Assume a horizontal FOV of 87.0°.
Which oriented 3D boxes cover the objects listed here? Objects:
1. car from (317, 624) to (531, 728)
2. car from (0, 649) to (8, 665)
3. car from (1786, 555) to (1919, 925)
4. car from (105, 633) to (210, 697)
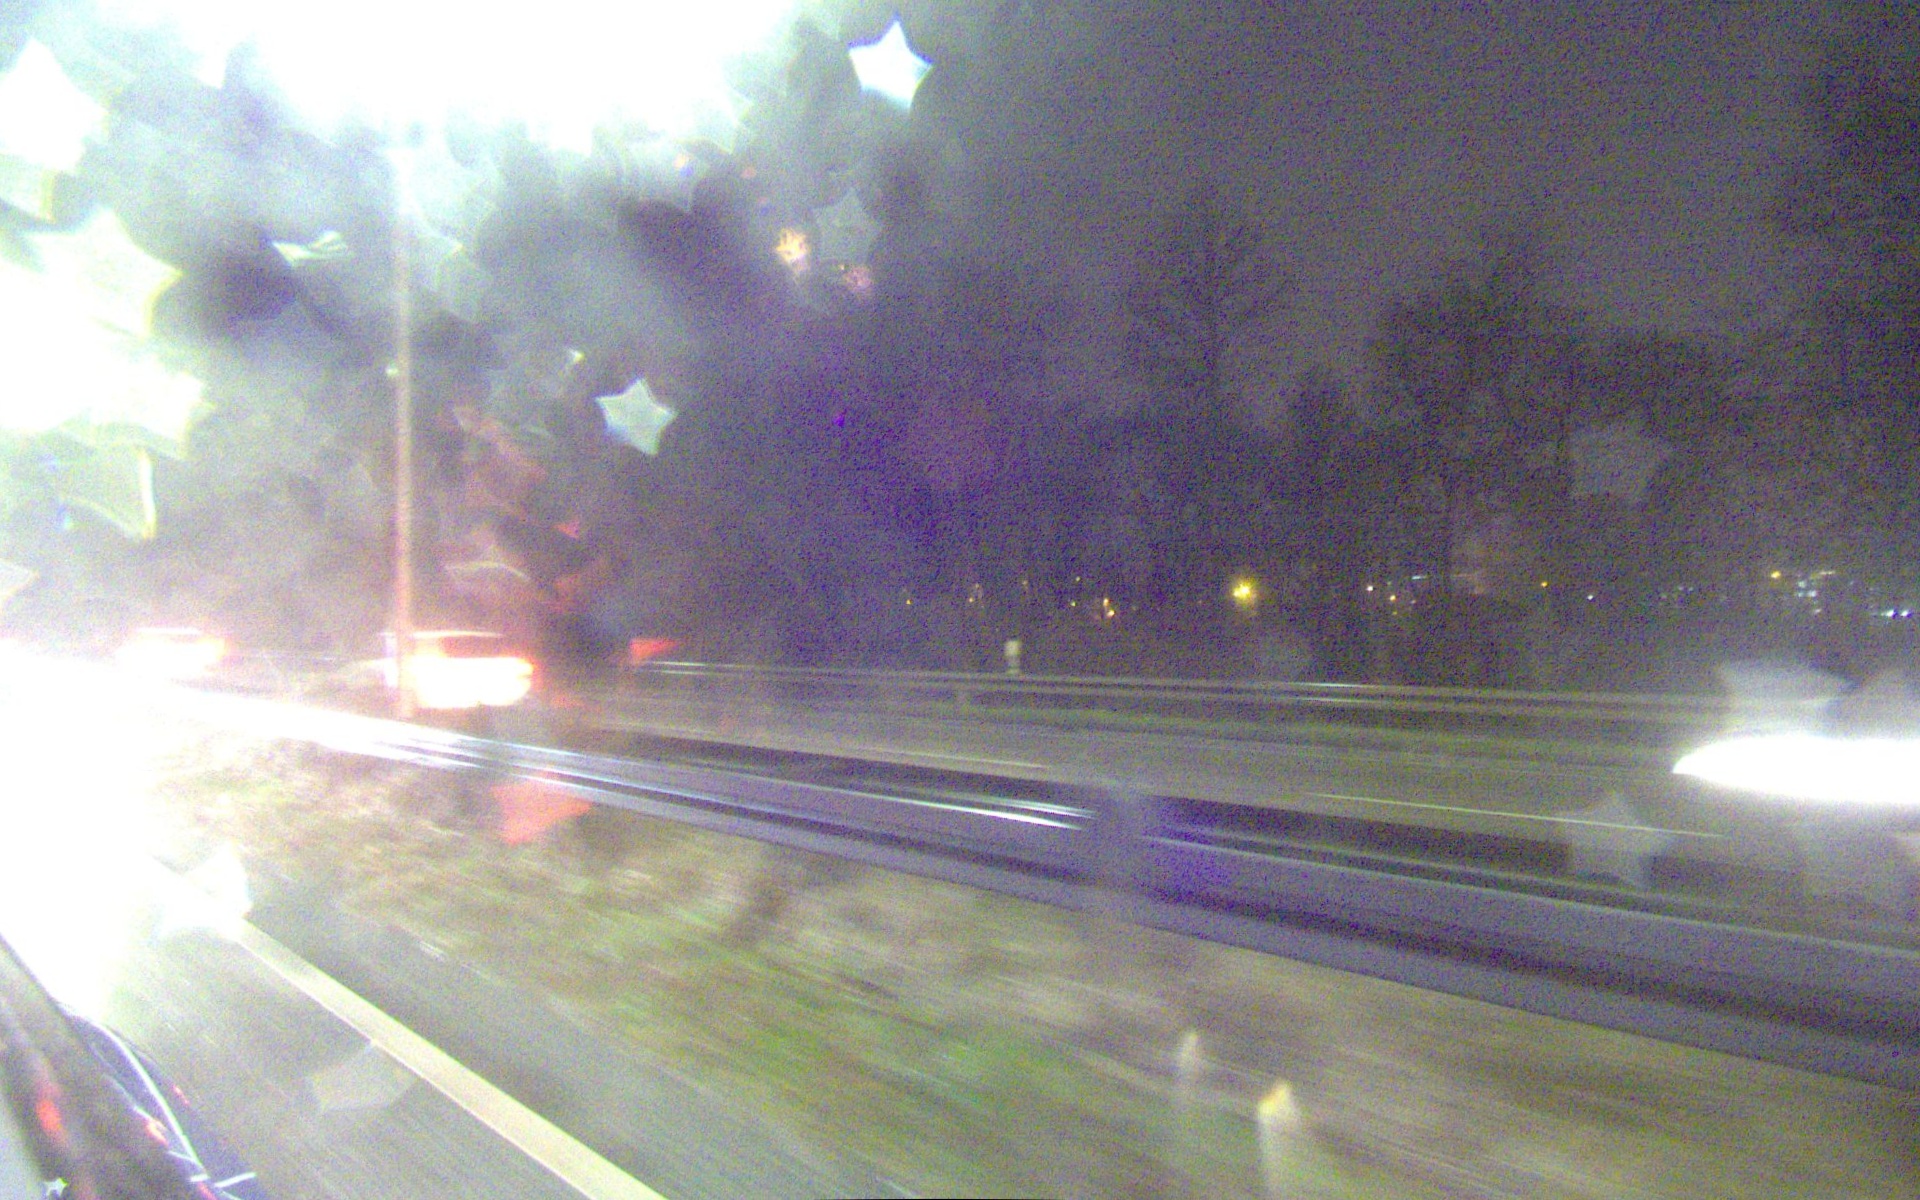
[{"bbox_3d":[-9.118,1.246,17.091,4.155,1.554,1.552,-2,-5,37],"label":"car"},{"bbox_3d":[-86.328,5.081,90.322,4.162,1.392,1.593,-3,-4,42],"label":"car"},{"bbox_3d":[5.966,0.606,4.053,3.994,1.581,1.791,-3,-6,38],"label":"car"},{"bbox_3d":[-22.558,1.768,28.406,3.998,1.664,1.603,-2,-3,41],"label":"car"}]
